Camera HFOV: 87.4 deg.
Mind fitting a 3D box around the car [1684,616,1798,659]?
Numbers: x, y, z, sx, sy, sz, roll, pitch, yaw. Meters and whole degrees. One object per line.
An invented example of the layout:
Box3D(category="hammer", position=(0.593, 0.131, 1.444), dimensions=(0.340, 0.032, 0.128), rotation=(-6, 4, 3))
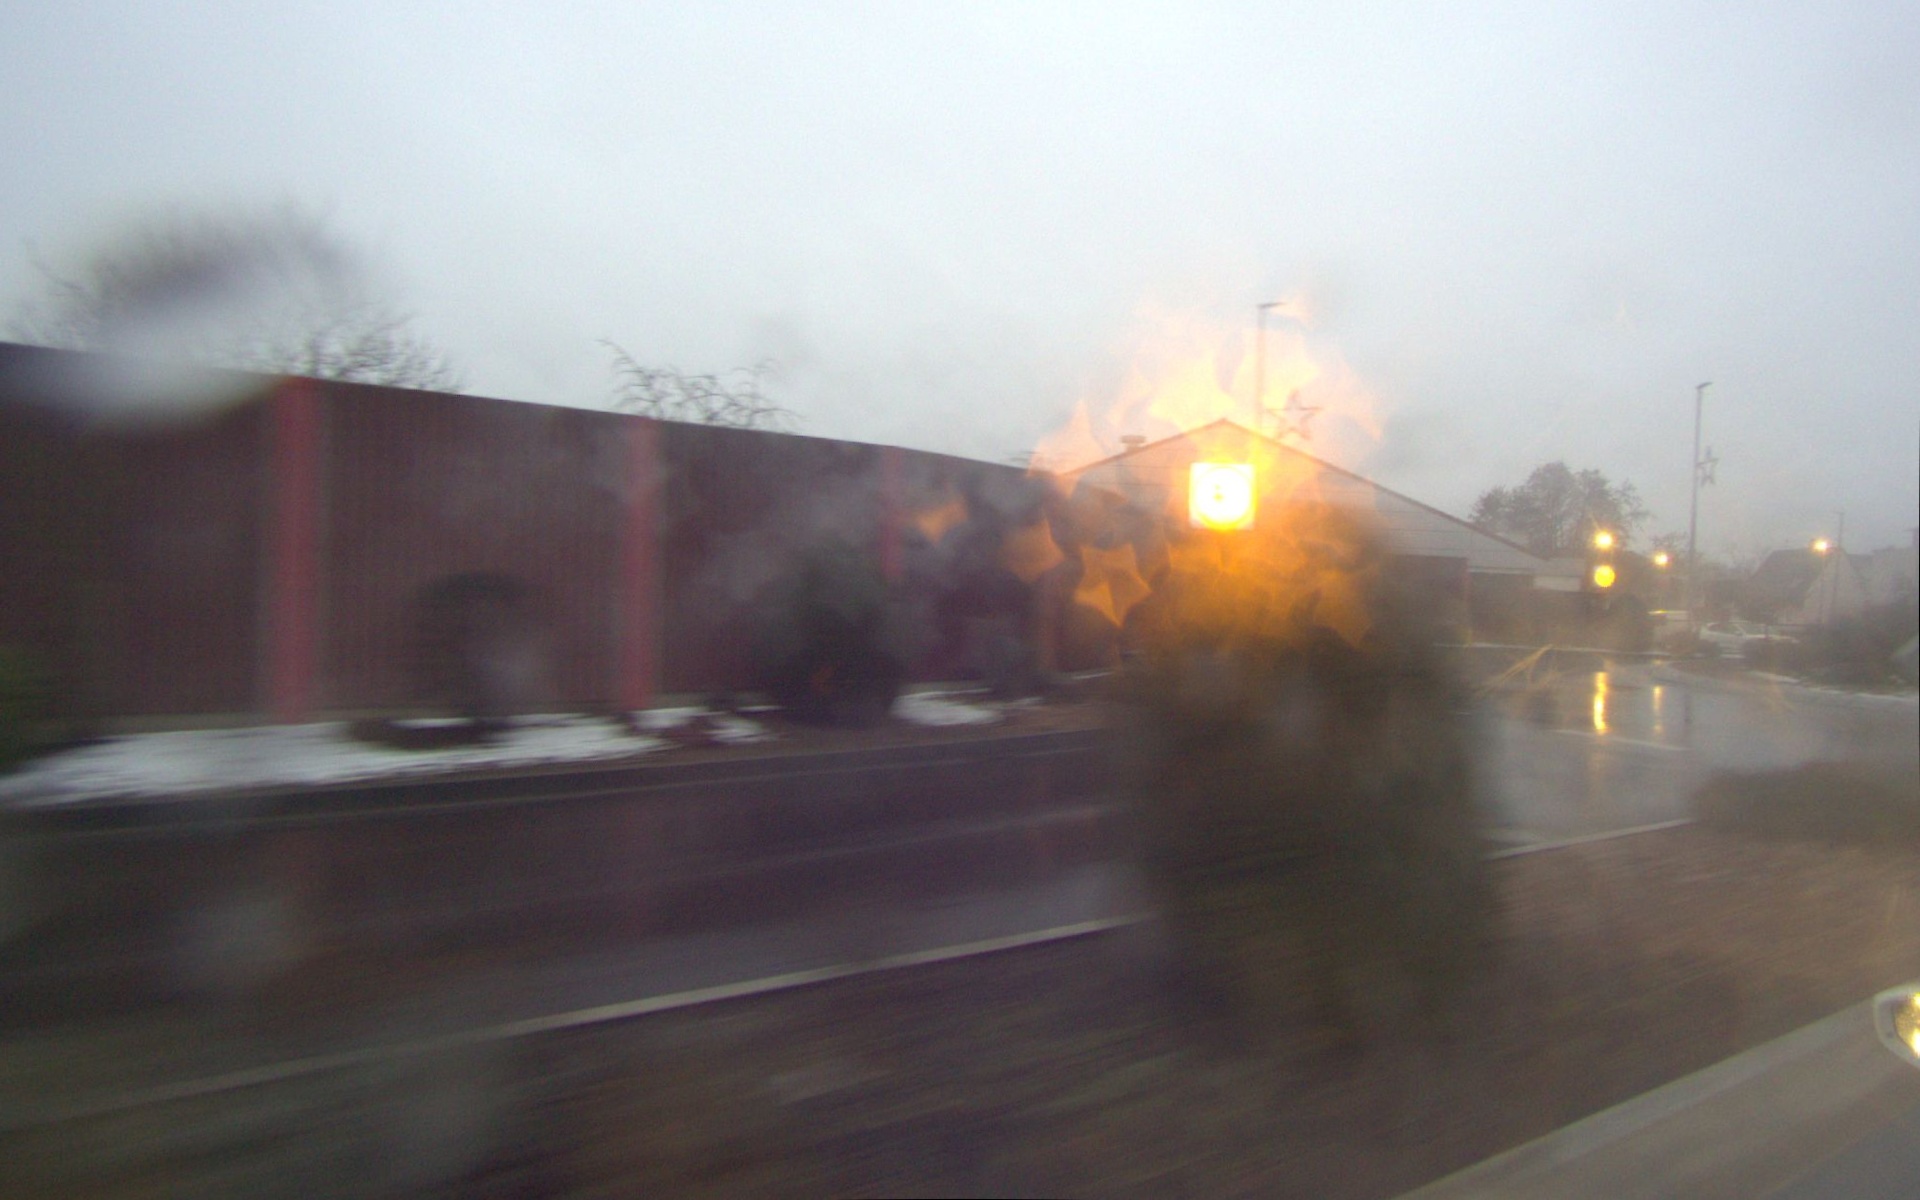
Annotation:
Box3D(category="car", position=(35.312, 1.664, 45.604), dimensions=(2.023, 1.582, 4.282), rotation=(4, 2, 6))

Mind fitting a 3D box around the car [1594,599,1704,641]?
Box3D(category="car", position=(42.205, 1.229, 61.618), dimensions=(5.320, 2.162, 2.032), rotation=(4, 2, -4))

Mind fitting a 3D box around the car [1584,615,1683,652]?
Box3D(category="car", position=(30.904, 1.511, 46.250), dimensions=(1.806, 1.329, 3.999), rotation=(4, 2, 0))
